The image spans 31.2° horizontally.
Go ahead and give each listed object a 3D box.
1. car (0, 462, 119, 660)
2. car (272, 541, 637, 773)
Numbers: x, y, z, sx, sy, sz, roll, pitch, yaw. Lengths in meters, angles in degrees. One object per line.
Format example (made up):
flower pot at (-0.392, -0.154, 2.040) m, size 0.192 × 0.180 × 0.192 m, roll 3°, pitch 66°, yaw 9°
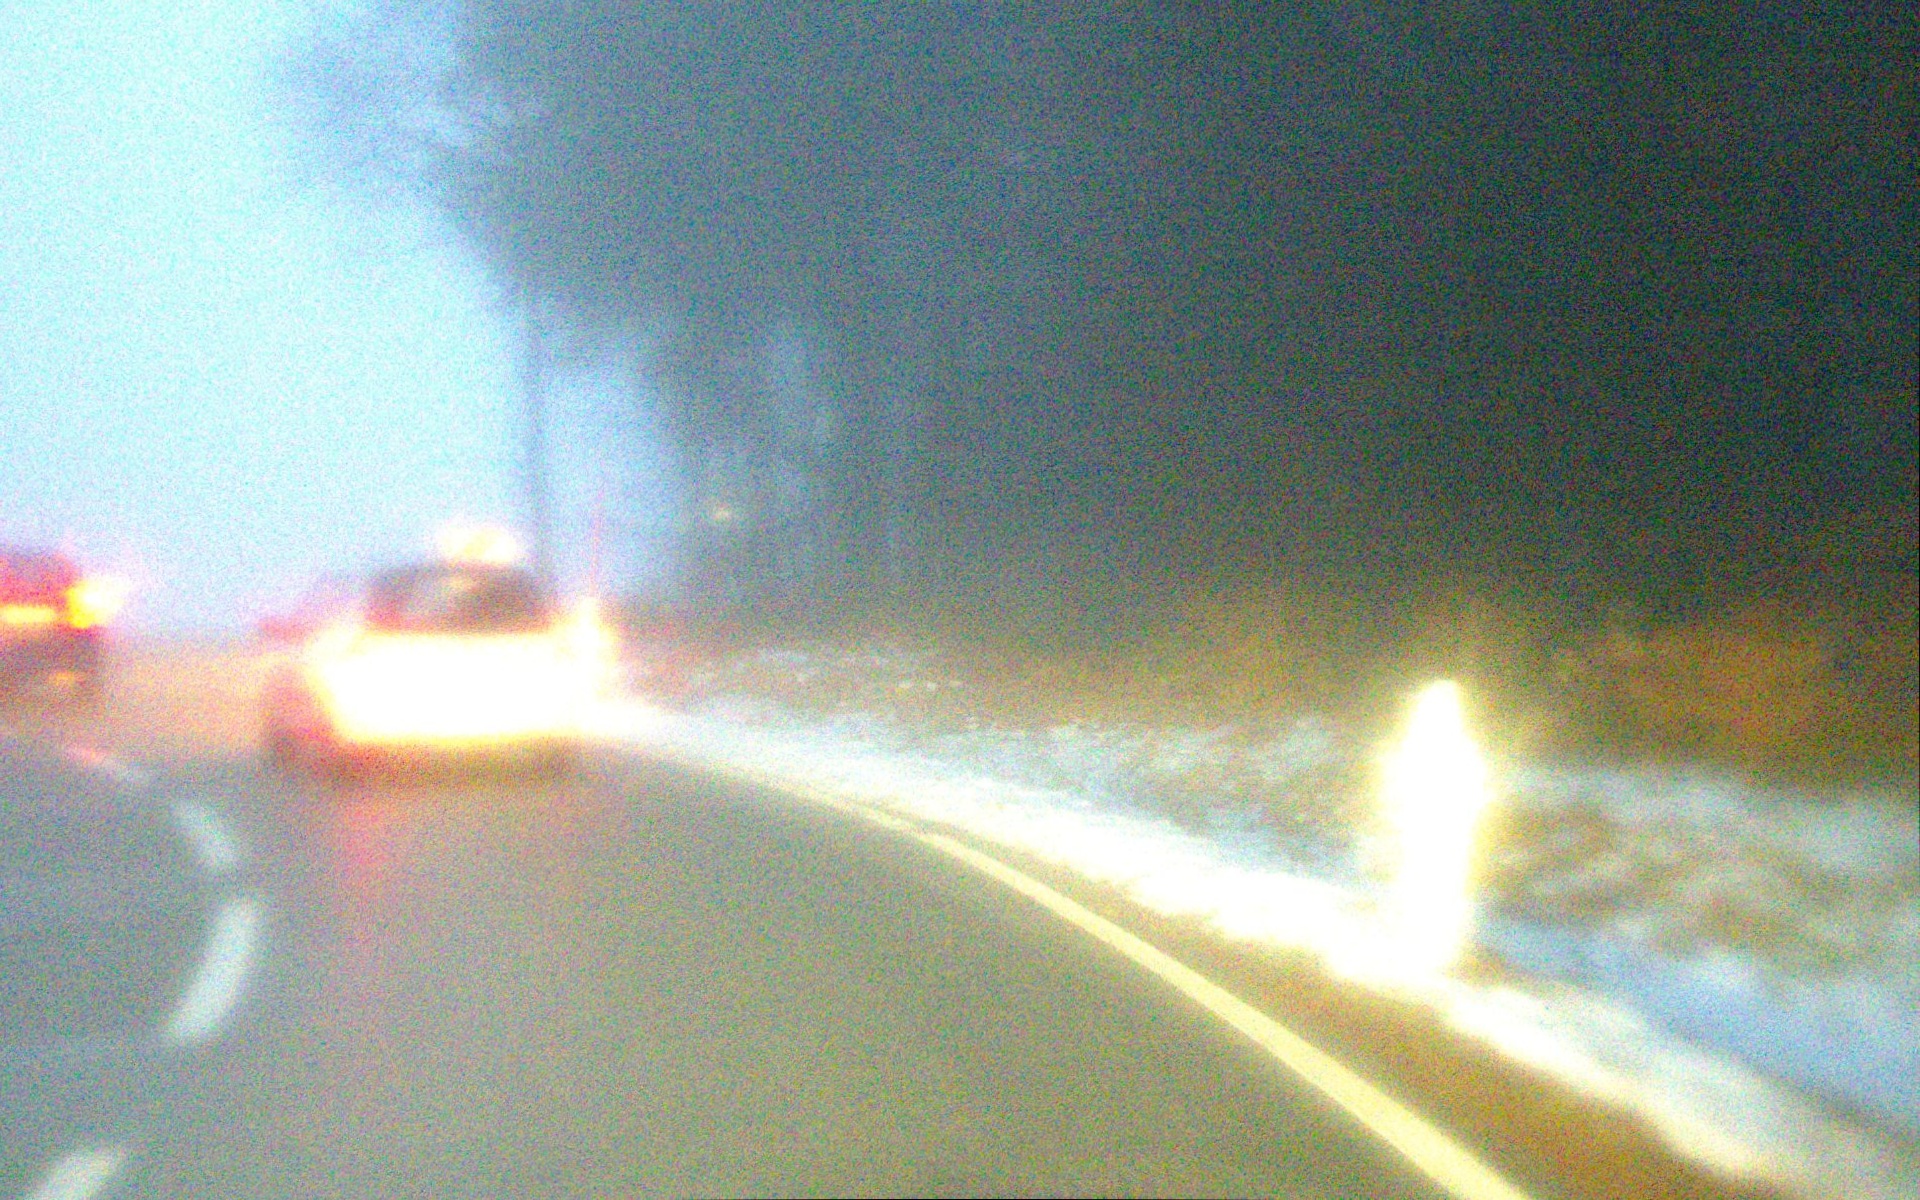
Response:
car at (-9.545, -0.463, 33.617) m, size 1.993 × 1.776 × 4.002 m, roll 3°, pitch 1°, yaw -21°
car at (-3.458, 0.308, 22.925) m, size 1.945 × 1.376 × 4.001 m, roll -1°, pitch 1°, yaw -15°
